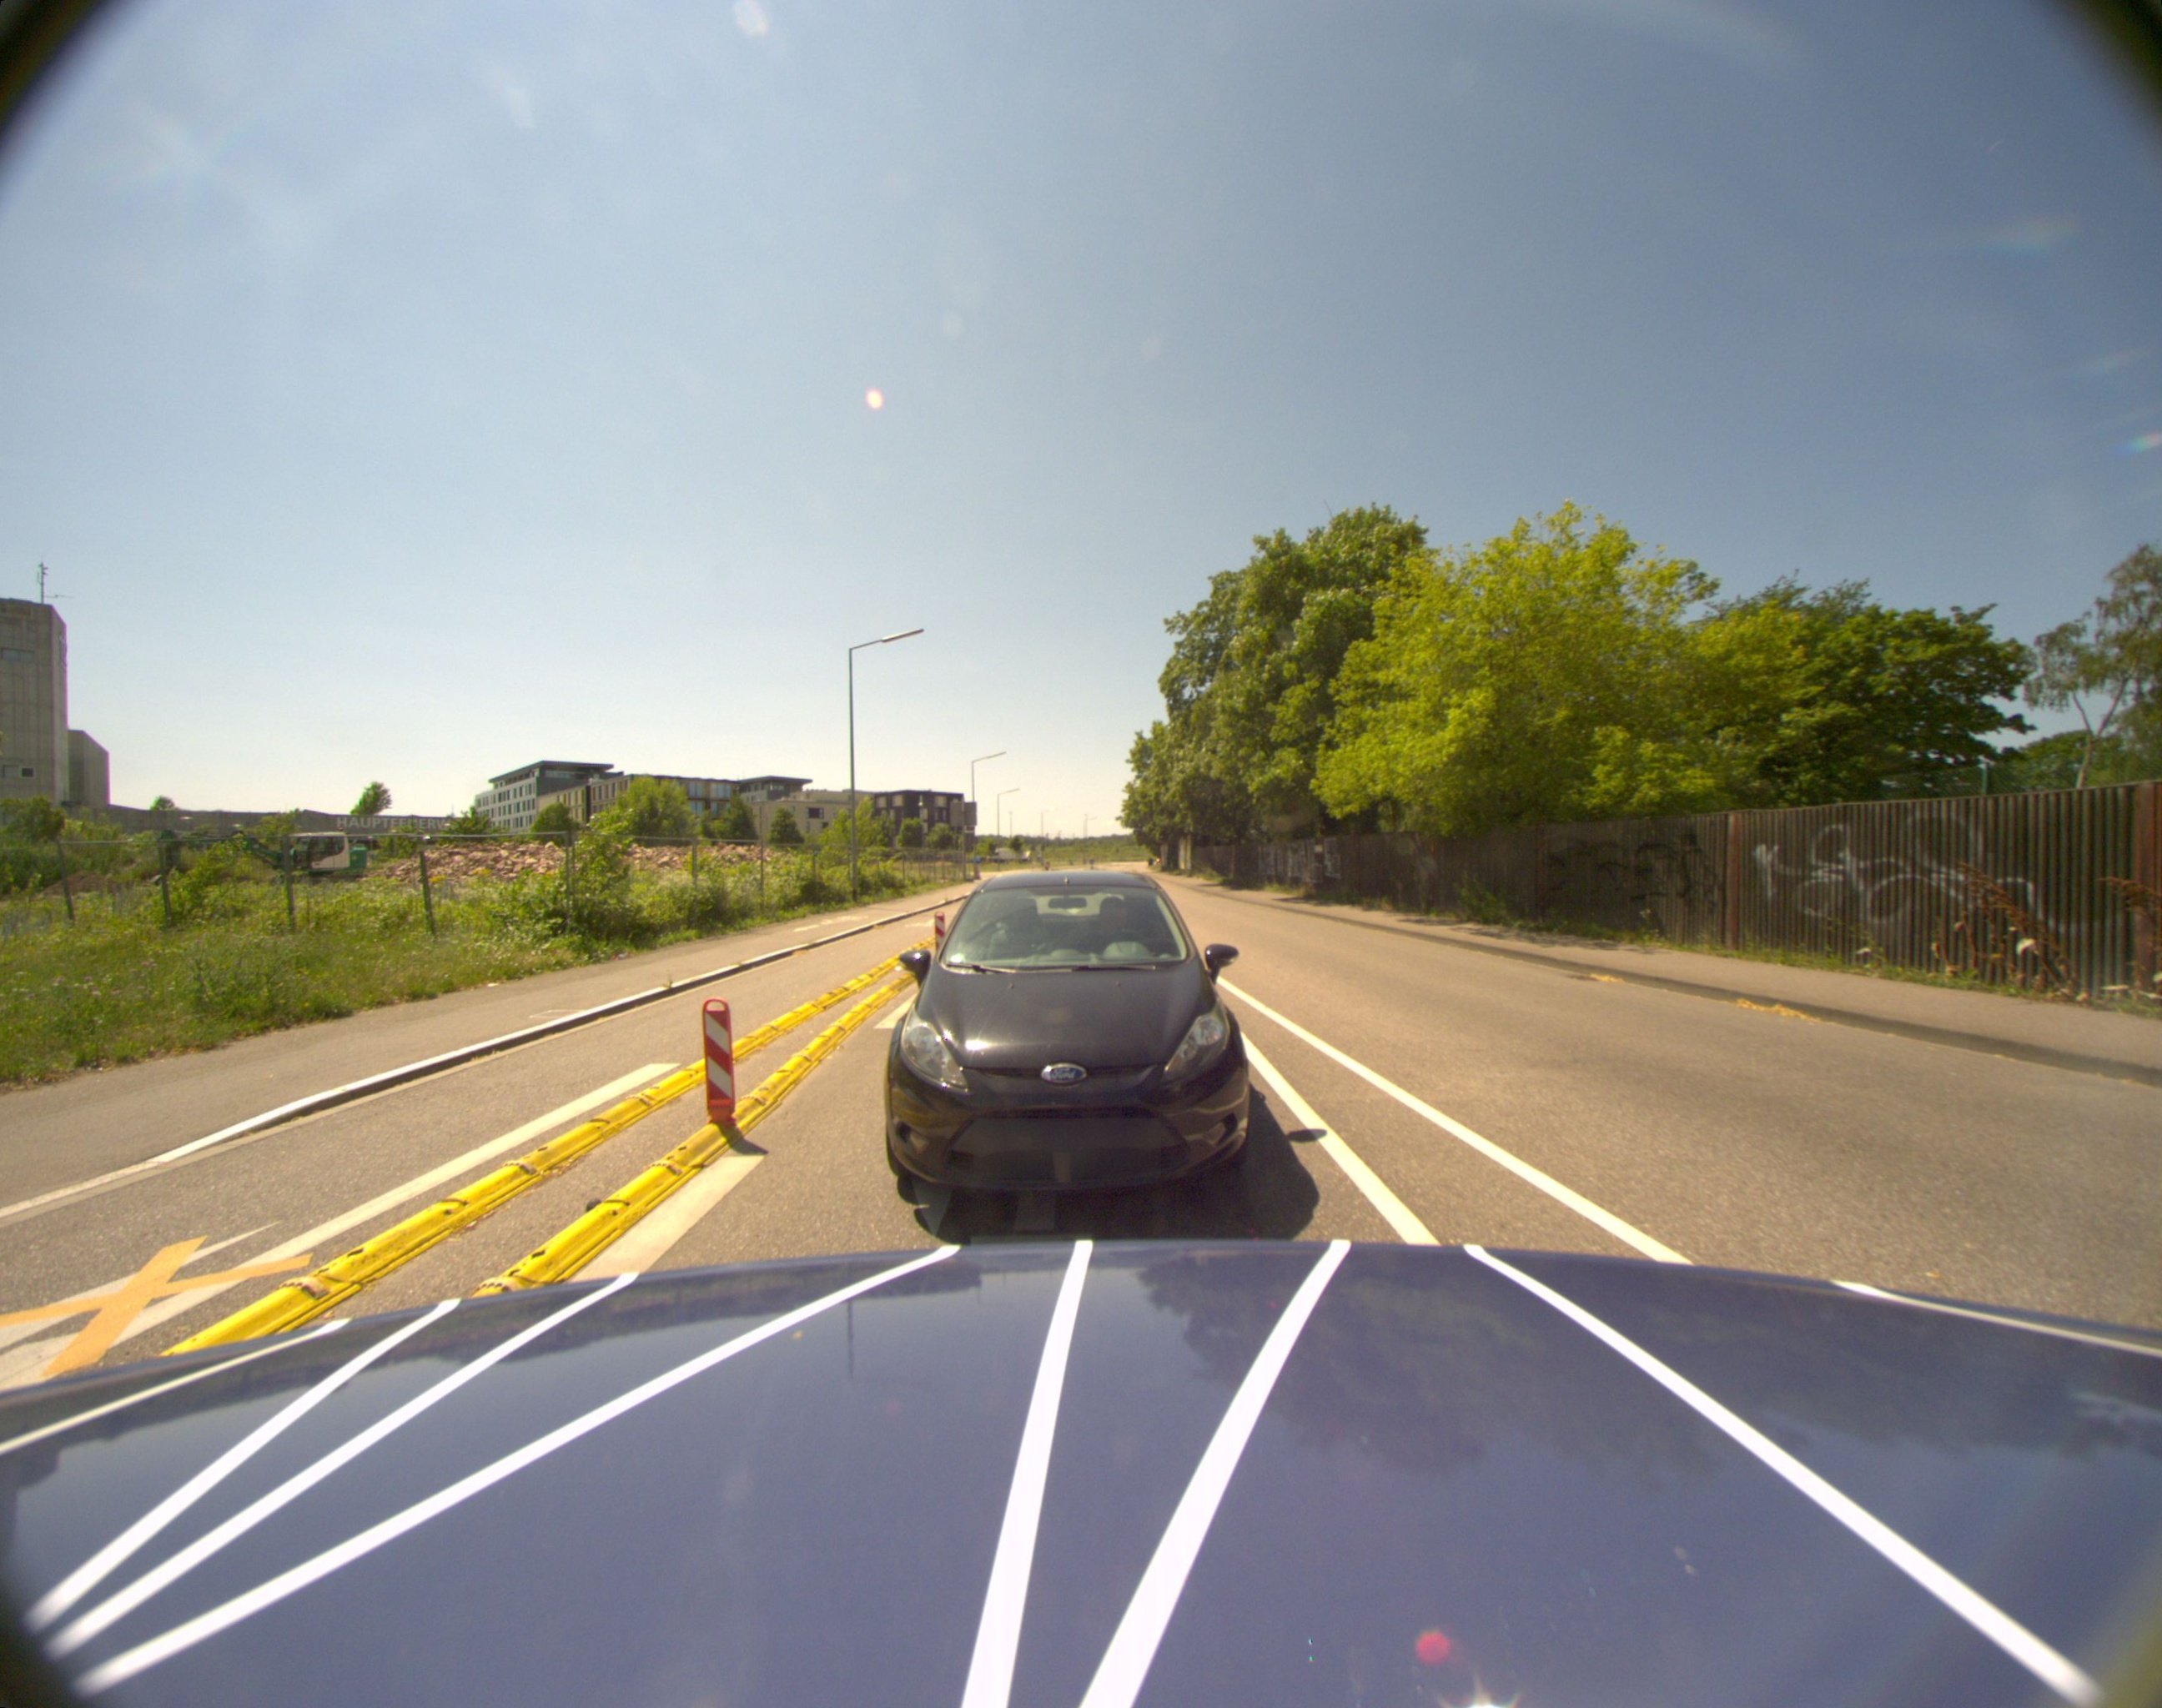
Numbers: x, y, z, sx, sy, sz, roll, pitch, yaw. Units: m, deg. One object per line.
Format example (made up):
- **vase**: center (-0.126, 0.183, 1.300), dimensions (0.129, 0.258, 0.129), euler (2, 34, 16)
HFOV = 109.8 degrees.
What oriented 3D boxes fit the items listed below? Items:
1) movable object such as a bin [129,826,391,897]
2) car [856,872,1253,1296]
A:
- **movable object such as a bin**: center (-38.334, 0.261, 36.020), dimensions (3.231, 2.899, 7.702), euler (-2, 1, 15)
- **car**: center (-0.076, 0.973, 5.034), dimensions (1.528, 1.510, 3.999), euler (-2, 1, 1)
